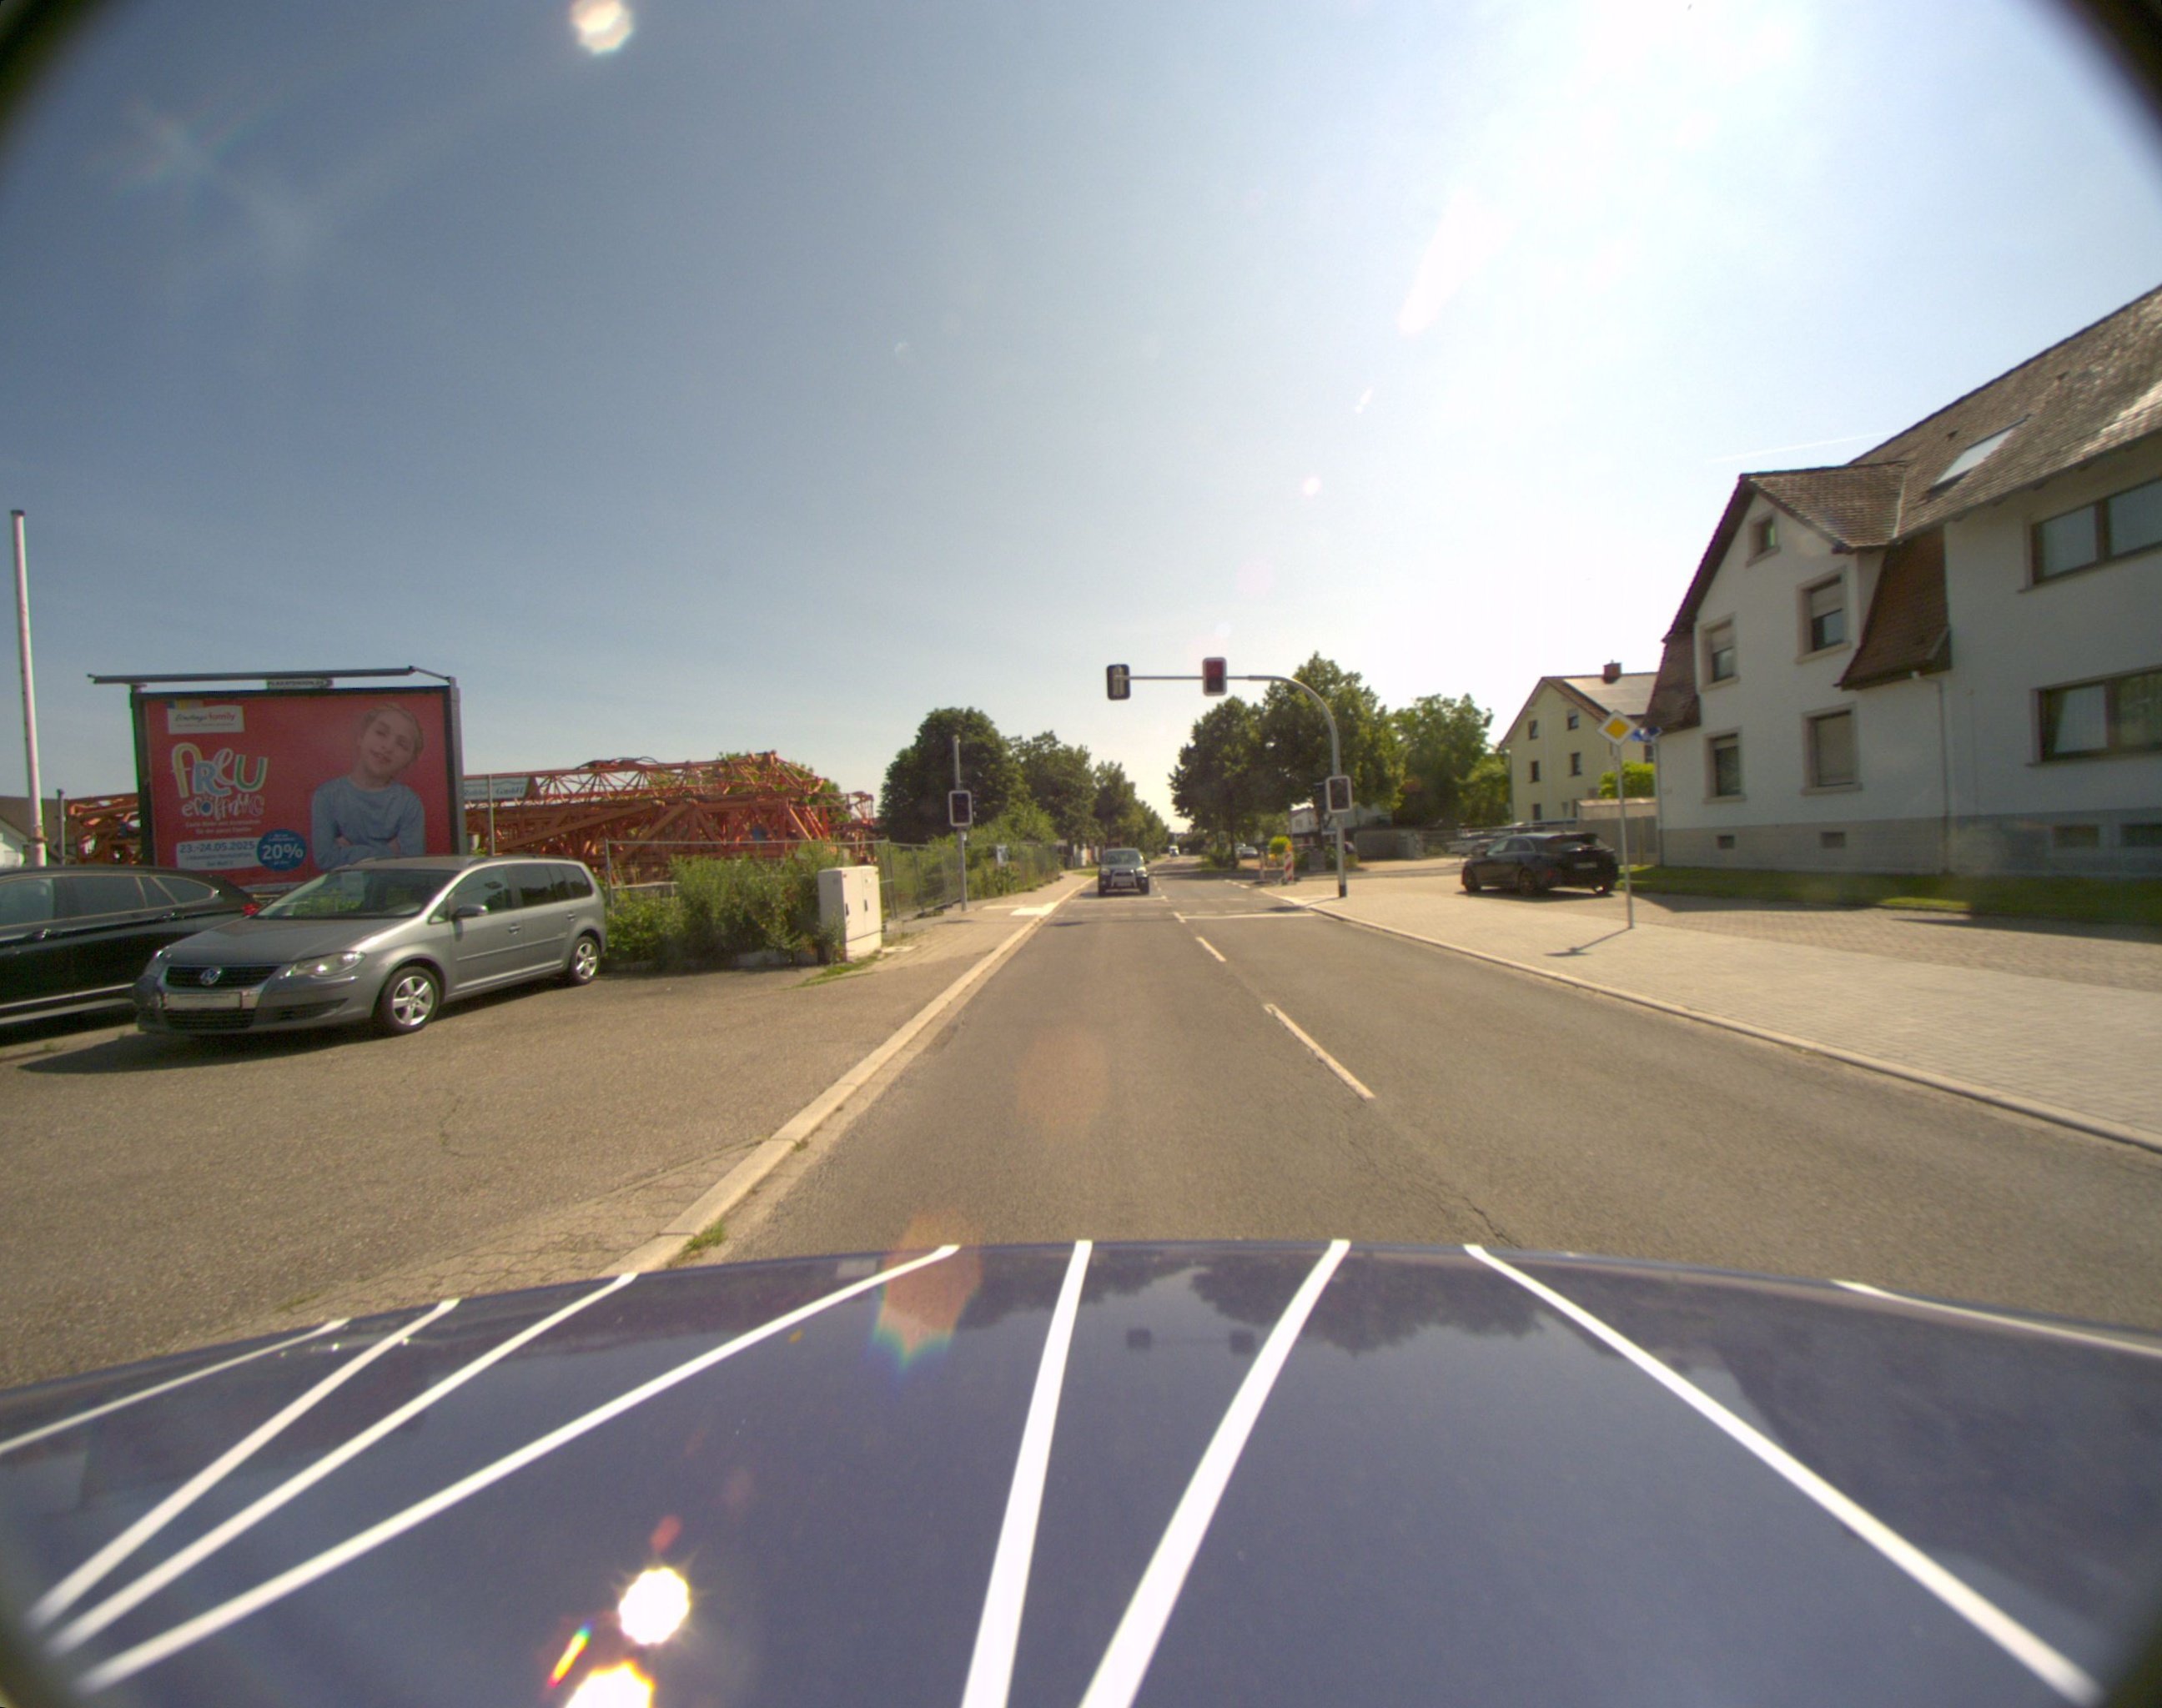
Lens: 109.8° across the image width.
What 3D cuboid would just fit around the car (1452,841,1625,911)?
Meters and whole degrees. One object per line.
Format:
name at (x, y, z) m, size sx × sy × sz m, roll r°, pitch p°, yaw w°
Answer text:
car at (10.687, 0.425, 18.181) m, size 1.718 × 1.399 × 4.398 m, roll -1°, pitch 2°, yaw 4°

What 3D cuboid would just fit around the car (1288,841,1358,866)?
car at (16.005, -0.012, 50.330) m, size 3.989 × 1.496 × 2.004 m, roll -2°, pitch 0°, yaw 35°

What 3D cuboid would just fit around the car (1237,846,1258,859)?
car at (19.799, -0.218, 90.551) m, size 1.998 × 1.496 × 4.001 m, roll -2°, pitch 0°, yaw 5°

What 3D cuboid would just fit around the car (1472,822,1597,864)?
car at (24.804, -0.600, 41.680) m, size 5.623 × 2.033 × 2.000 m, roll -2°, pitch 1°, yaw 1°

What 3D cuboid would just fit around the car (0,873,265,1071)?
car at (-10.101, 1.058, 6.540) m, size 1.975 × 1.583 × 3.997 m, roll -2°, pitch 1°, yaw -6°

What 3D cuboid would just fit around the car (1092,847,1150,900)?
car at (1.445, 0.682, 27.731) m, size 1.848 × 1.686 × 4.399 m, roll -3°, pitch -1°, yaw 2°

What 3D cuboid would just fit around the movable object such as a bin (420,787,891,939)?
movable object such as a bin at (-13.174, 0.258, 24.364) m, size 13.288 × 4.141 × 2.862 m, roll -2°, pitch 1°, yaw -1°

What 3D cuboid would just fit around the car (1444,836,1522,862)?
car at (26.298, -0.327, 49.807) m, size 3.996 × 1.496 × 2.000 m, roll -2°, pitch 0°, yaw 2°

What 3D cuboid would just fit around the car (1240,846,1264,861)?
car at (18.392, -0.070, 81.794) m, size 1.998 × 1.496 × 4.001 m, roll -2°, pitch 0°, yaw 5°

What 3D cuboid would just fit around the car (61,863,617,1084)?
car at (-7.072, 0.955, 8.083) m, size 1.809 × 1.676 × 4.368 m, roll -1°, pitch -1°, yaw -4°

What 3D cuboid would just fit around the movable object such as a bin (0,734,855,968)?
movable object such as a bin at (-13.343, -0.074, 16.152) m, size 16.093 × 3.995 × 2.773 m, roll -2°, pitch 1°, yaw -1°
